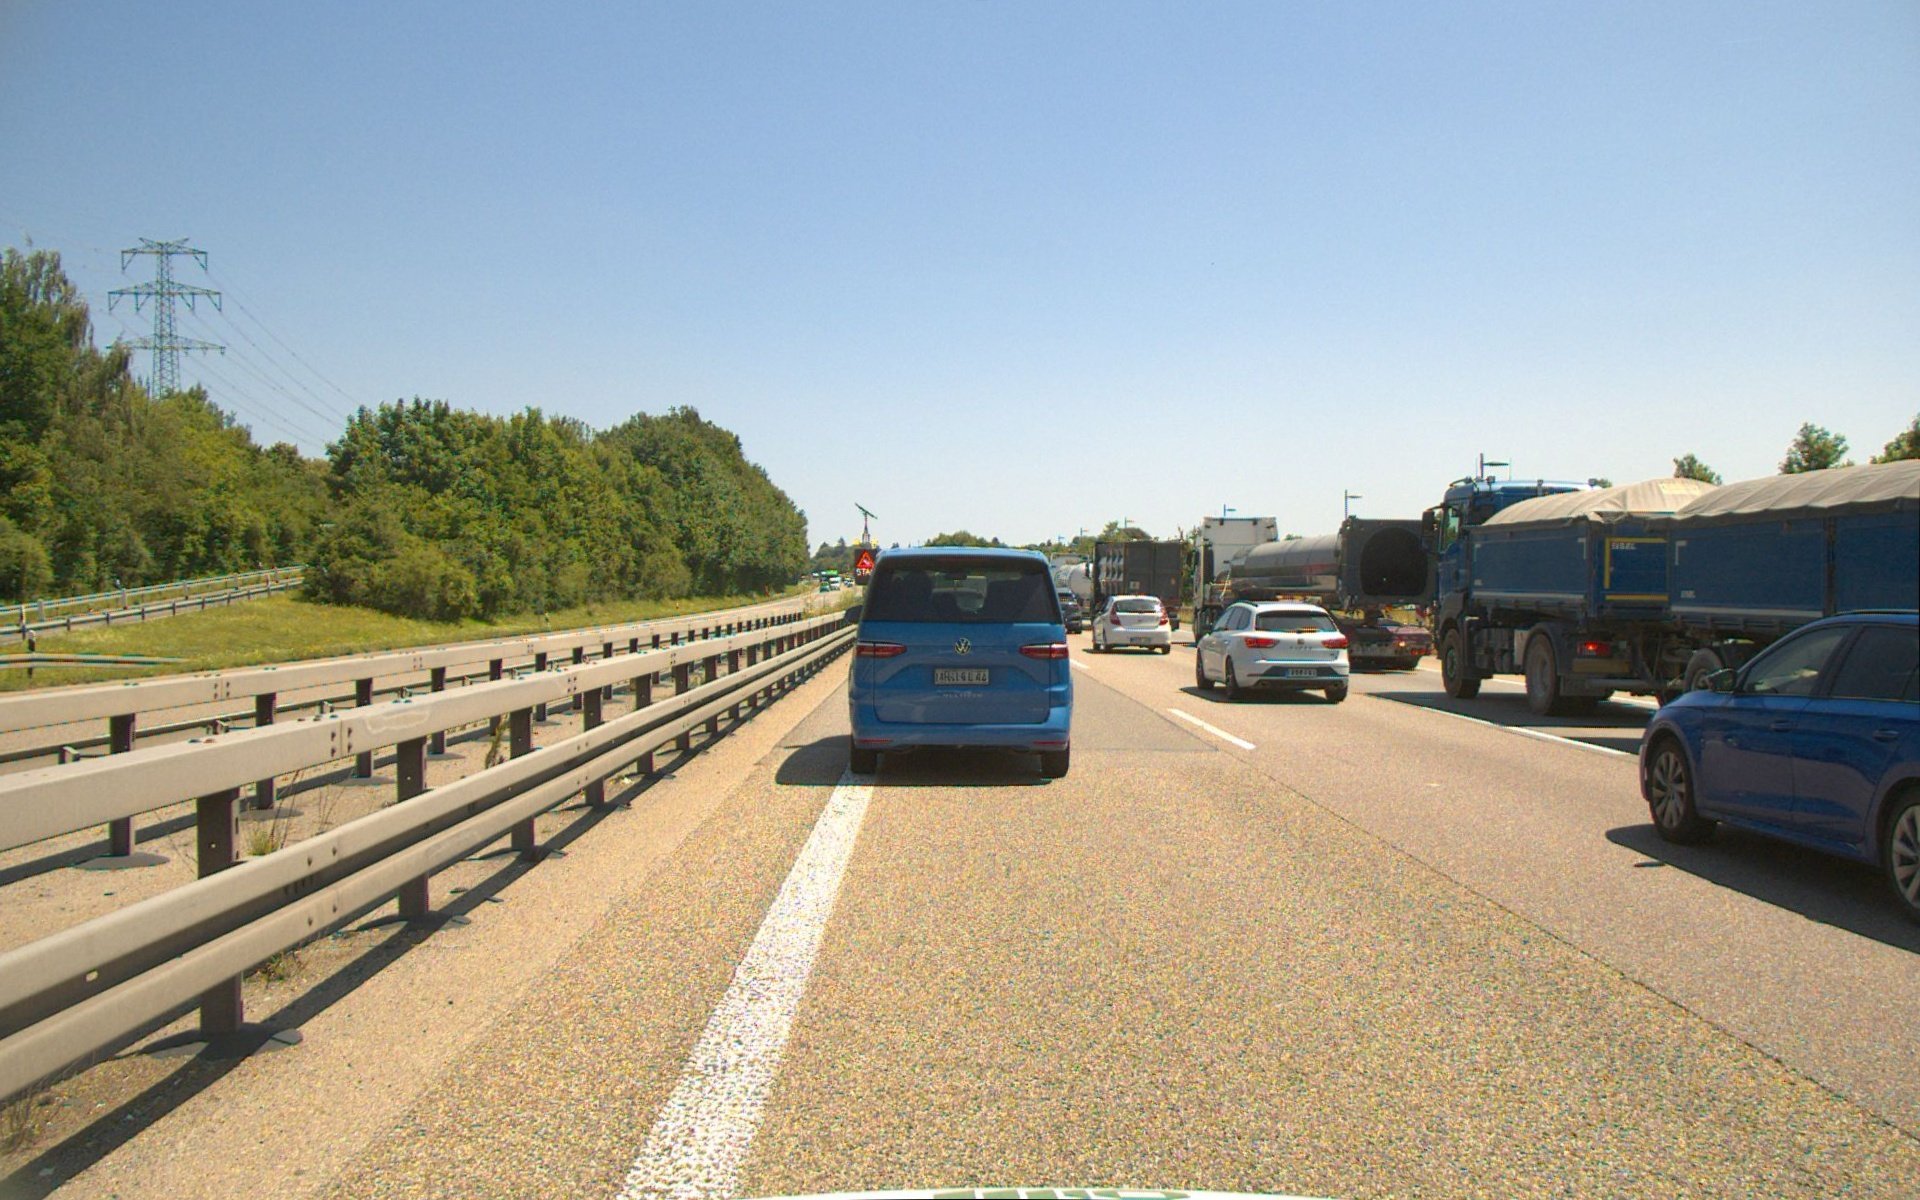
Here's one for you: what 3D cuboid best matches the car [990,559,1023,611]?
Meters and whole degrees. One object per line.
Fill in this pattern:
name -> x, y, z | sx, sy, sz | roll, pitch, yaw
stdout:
car -> 4.937, -1.570, 177.880 | 3.153, 5.349, 8.142 | 1, -1, -1

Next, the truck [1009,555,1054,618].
truck -> 5.925, -1.058, 138.386 | 3.006, 5.006, 10.687 | 1, -1, -1

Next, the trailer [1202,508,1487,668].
trailer -> 8.799, -0.163, 40.773 | 3.571, 3.133, 15.772 | 1, -1, 1

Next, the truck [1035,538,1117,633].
truck -> 6.974, -0.762, 101.880 | 3.548, 5.304, 15.684 | 1, -1, -1

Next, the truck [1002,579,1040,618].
truck -> 3.078, -0.065, 84.048 | 1.690, 1.890, 3.999 | 1, -1, -1

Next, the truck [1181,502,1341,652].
truck -> 8.997, -0.625, 50.398 | 3.551, 4.166, 7.524 | 1, -1, 1

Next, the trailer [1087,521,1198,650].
trailer -> 8.025, -0.532, 74.573 | 3.571, 5.226, 13.075 | 1, -1, 0

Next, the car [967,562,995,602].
car -> 2.851, -2.496, 229.140 | 3.154, 5.349, 8.138 | 1, -1, -3

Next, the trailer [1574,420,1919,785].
trailer -> 8.907, -0.003, 15.654 | 2.688, 2.886, 9.115 | 1, 1, -1

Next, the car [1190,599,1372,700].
car -> 4.795, 0.691, 25.255 | 1.830, 1.385, 3.998 | 1, 0, -3

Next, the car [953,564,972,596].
car -> 0.424, -3.042, 259.569 | 2.661, 4.795, 11.557 | 1, -1, -1

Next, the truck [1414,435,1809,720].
truck -> 8.803, -0.276, 23.408 | 2.688, 3.369, 7.131 | 1, 0, -1

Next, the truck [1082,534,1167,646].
truck -> 8.020, -0.461, 81.471 | 3.583, 5.270, 5.708 | 1, -1, 0

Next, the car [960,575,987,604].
car -> 1.302, -1.034, 163.431 | 2.499, 2.765, 5.620 | 1, -1, -1

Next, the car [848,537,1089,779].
car -> 0.088, 0.472, 15.002 | 1.862, 1.870, 4.000 | 1, -1, 0

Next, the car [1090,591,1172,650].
car -> 4.511, 0.536, 44.073 | 1.802, 1.480, 4.000 | 1, -1, 1

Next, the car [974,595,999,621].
car -> 2.160, 0.665, 136.073 | 1.953, 2.049, 3.999 | 1, -1, -1

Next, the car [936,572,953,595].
car -> -2.342, -2.511, 250.138 | 2.435, 3.260, 7.370 | 1, -1, -1

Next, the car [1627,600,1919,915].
car -> 5.303, 0.755, 8.802 | 1.671, 1.466, 4.427 | 1, -1, -1

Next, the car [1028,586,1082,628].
car -> 3.634, 0.287, 63.630 | 1.745, 1.551, 3.999 | 1, -1, -1
